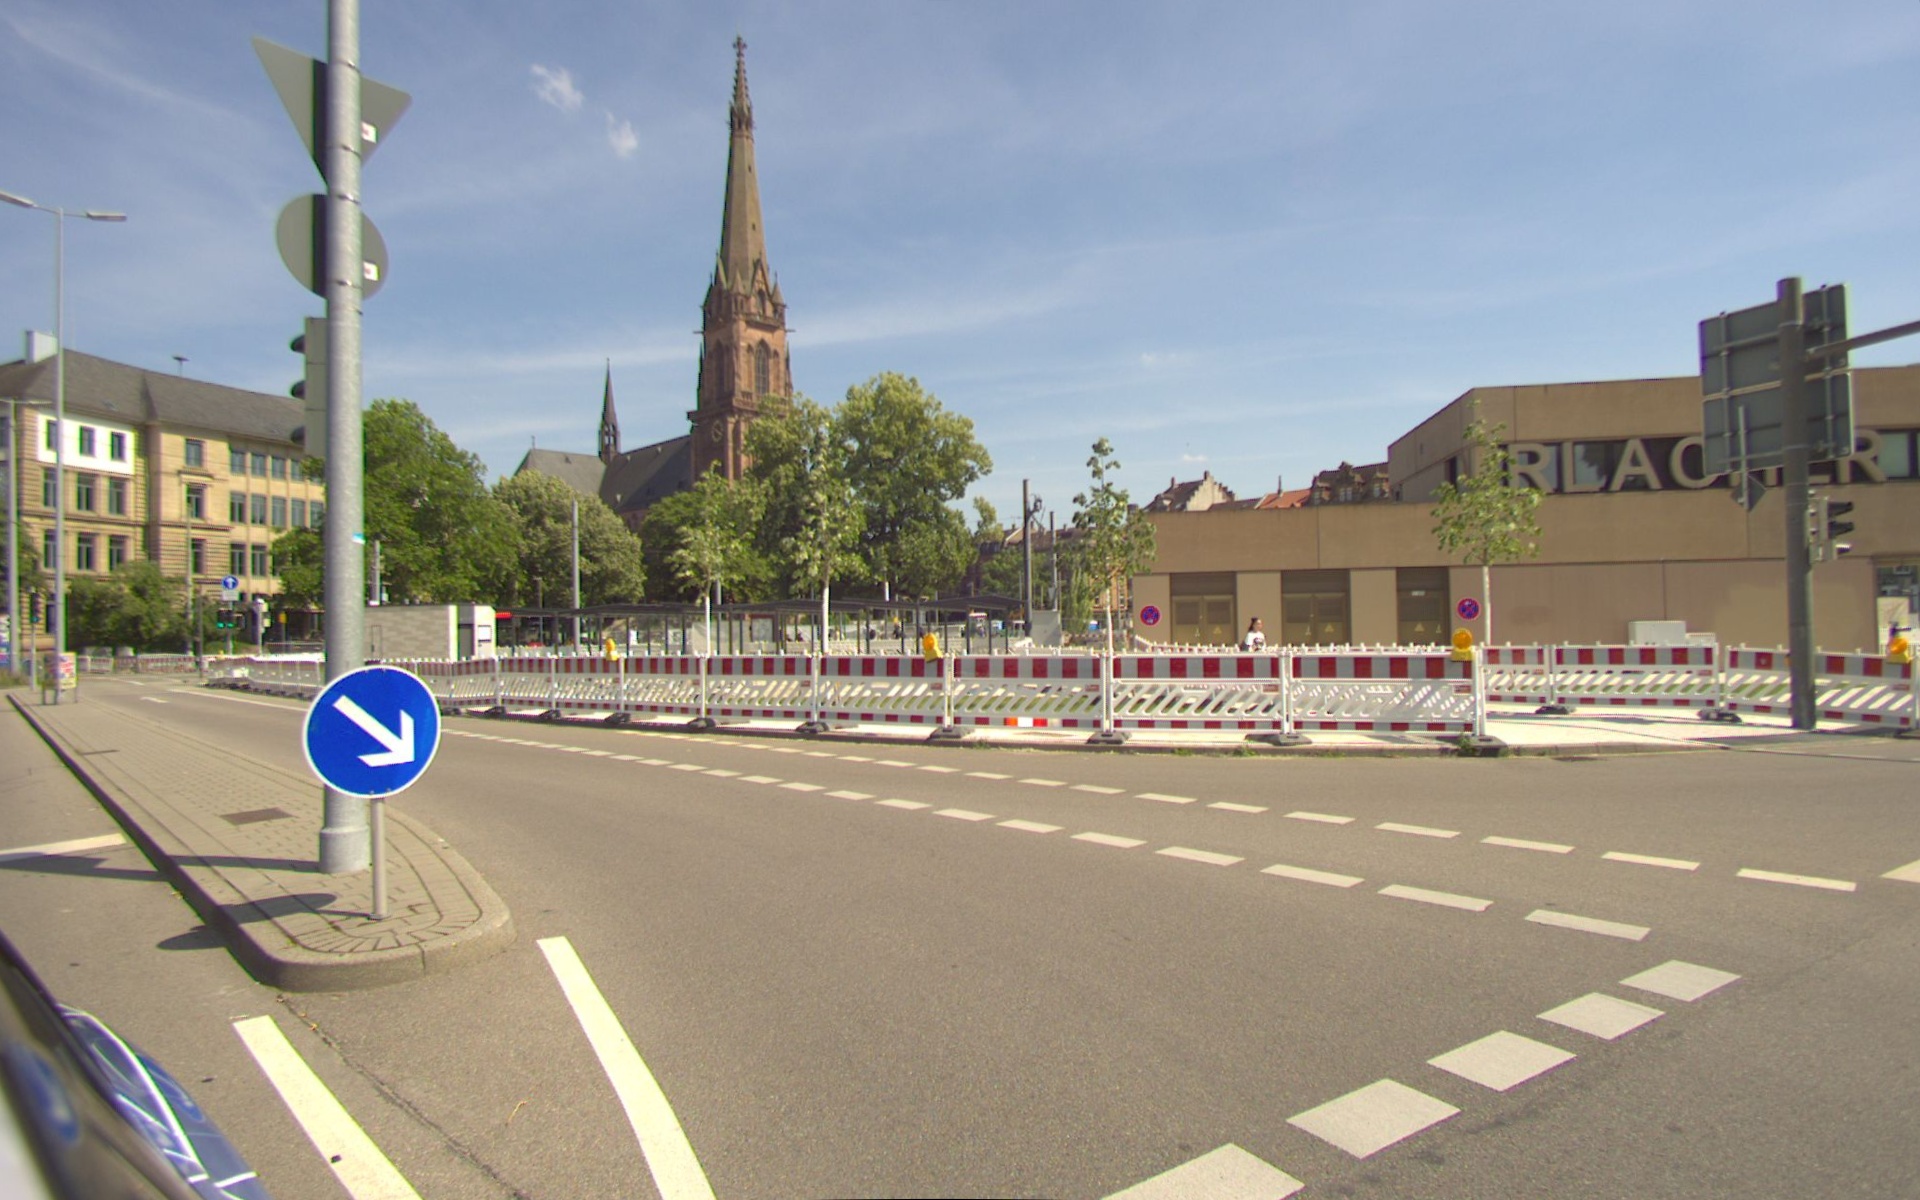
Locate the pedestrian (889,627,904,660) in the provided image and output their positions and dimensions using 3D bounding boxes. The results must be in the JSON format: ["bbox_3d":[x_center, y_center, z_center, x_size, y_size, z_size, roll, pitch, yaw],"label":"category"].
[{"bbox_3d":[-3.299,2.270,52.367,0.734,1.674,0.821,-1,-2,-3],"label":"pedestrian"}]

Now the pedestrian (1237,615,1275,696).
[{"bbox_3d":[5.916,1.102,20.229,0.548,1.576,0.425,0,-2,-28],"label":"pedestrian"}]

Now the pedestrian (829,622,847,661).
[{"bbox_3d":[-6.423,2.166,53.369,0.680,2.029,0.817,-2,-2,14],"label":"pedestrian"}]

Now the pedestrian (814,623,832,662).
[{"bbox_3d":[-7.218,2.225,53.419,0.680,2.029,0.817,-1,-2,14],"label":"pedestrian"}]

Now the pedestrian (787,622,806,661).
[{"bbox_3d":[-8.527,2.172,52.804,0.680,2.029,0.817,-2,-2,14],"label":"pedestrian"}]

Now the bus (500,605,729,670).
[{"bbox_3d":[-20.033,2.135,59.161,12.243,3.117,3.132,-3,0,1],"label":"bus"}]

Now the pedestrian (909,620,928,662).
[{"bbox_3d":[-2.065,2.046,50.458,0.681,2.029,0.815,-2,-2,20],"label":"pedestrian"}]

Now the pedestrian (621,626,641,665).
[{"bbox_3d":[-17.411,2.397,53.593,0.808,2.029,0.687,1,-3,-43],"label":"pedestrian"}]
